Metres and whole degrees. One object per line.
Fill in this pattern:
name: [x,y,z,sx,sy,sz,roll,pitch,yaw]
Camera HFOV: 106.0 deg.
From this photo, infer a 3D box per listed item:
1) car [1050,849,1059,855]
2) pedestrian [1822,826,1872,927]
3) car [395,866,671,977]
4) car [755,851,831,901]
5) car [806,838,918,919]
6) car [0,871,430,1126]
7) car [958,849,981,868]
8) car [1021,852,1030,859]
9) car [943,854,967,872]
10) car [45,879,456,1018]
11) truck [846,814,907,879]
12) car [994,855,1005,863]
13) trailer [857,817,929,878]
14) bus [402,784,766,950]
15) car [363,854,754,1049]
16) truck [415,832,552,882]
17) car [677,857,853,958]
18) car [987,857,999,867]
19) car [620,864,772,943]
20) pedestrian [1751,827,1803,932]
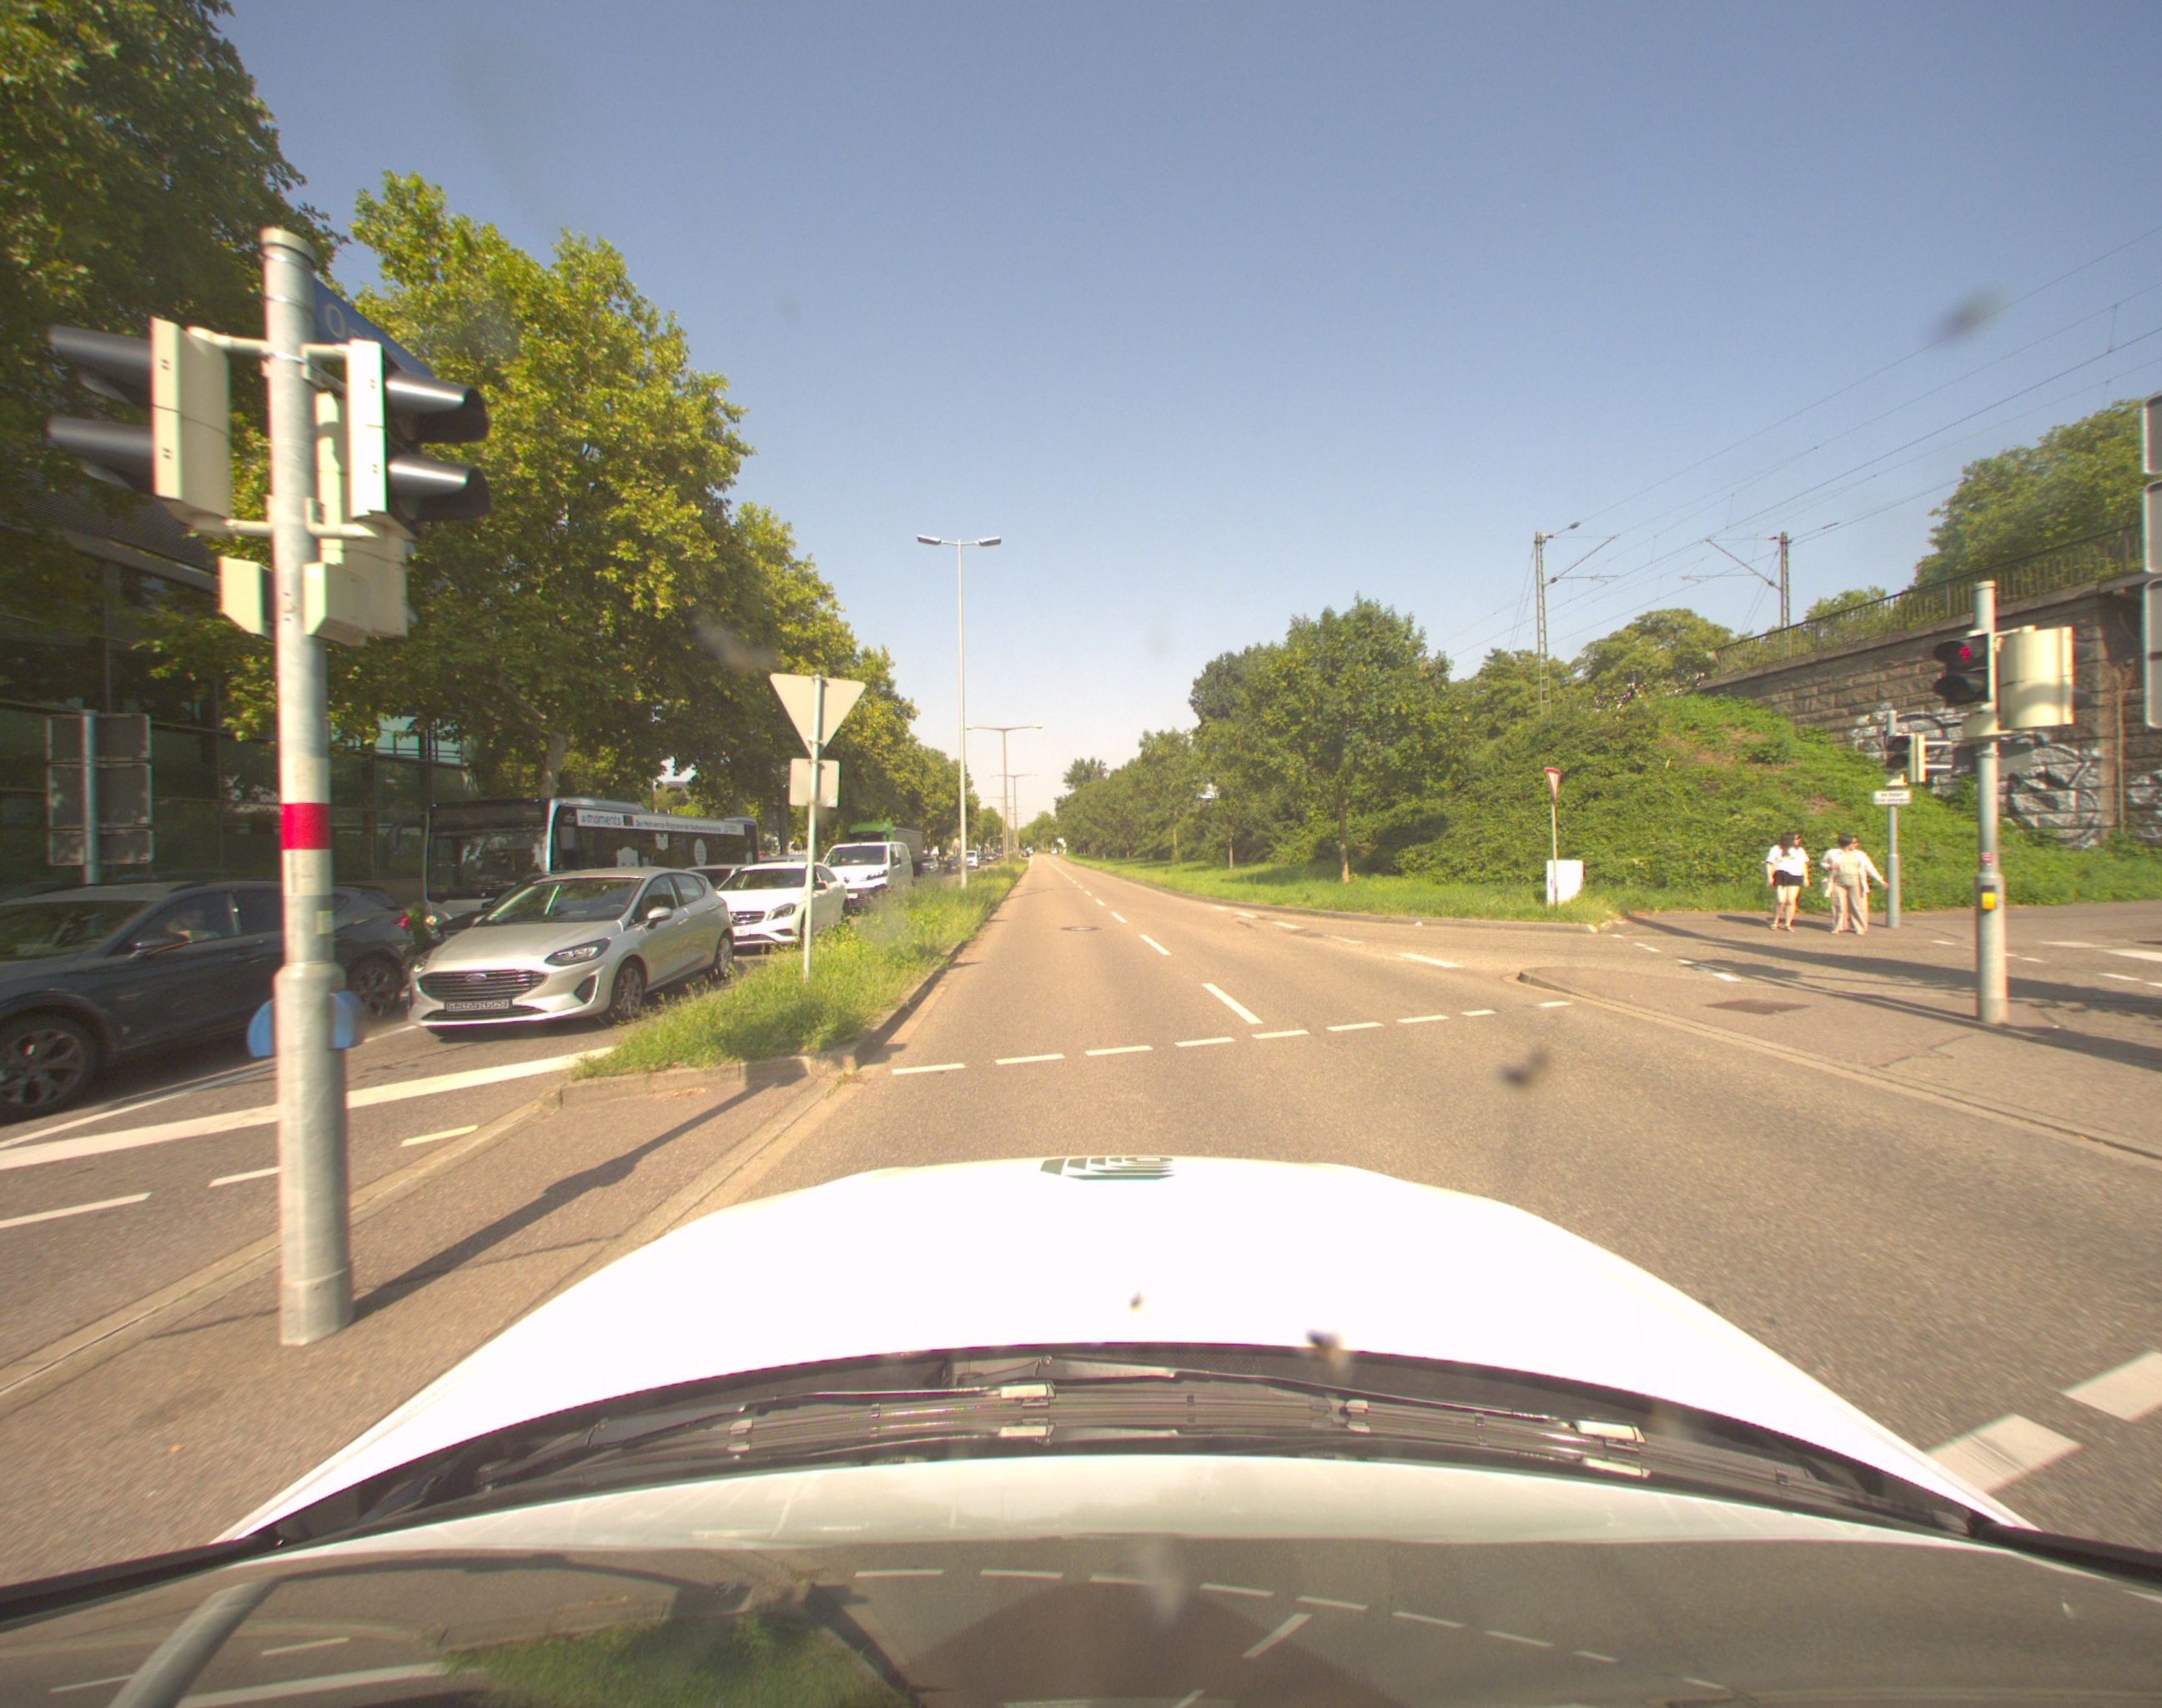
car: [-6.728,-0.570,208.622,1.785,1.510,4.006,-1,0,5]
pedestrian: [12.233,0.354,13.020,0.529,1.567,0.576,-2,0,41]
car: [-8.317,0.929,12.869,1.701,1.442,3.997,0,0,-1]
car: [-12.343,0.903,35.221,1.700,1.888,4.743,-3,0,-3]
car: [-5.759,0.597,22.085,1.908,1.863,4.883,-3,0,-4]
car: [-7.772,0.974,6.518,1.851,1.504,4.258,-2,0,-4]
car: [-11.857,0.477,86.920,1.989,1.953,5.029,-2,0,-4]
car: [-12.328,0.309,179.812,1.687,1.486,3.999,-2,0,0]
car: [-10.928,0.753,70.877,1.610,1.398,3.854,-3,0,-2]
car: [-10.997,1.135,11.292,1.739,1.390,3.994,-2,0,-4]
truck: [-13.127,-0.438,52.792,2.602,3.819,5.883,-3,0,-3]
car: [-17.061,1.063,170.459,1.950,1.724,4.581,-2,0,-3]
trailer: [-13.552,-0.396,59.944,2.628,3.821,13.794,-3,0,-3]
bus: [-11.761,0.274,21.548,2.584,3.079,12.298,-1,0,-3]
car: [-5.100,0.797,8.712,1.639,1.495,3.996,-3,0,-2]
truck: [-37.680,0.195,51.849,1.987,2.861,9.125,-1,0,0]
car: [-5.299,0.810,14.264,1.706,1.402,4.077,-2,1,-4]
car: [-15.229,1.379,140.977,1.743,1.479,4.578,-3,0,-5]
car: [-8.512,1.018,18.399,1.703,1.467,3.816,-3,0,-3]
pedestrian: [11.612,0.413,13.595,0.564,1.681,0.496,-1,3,31]
